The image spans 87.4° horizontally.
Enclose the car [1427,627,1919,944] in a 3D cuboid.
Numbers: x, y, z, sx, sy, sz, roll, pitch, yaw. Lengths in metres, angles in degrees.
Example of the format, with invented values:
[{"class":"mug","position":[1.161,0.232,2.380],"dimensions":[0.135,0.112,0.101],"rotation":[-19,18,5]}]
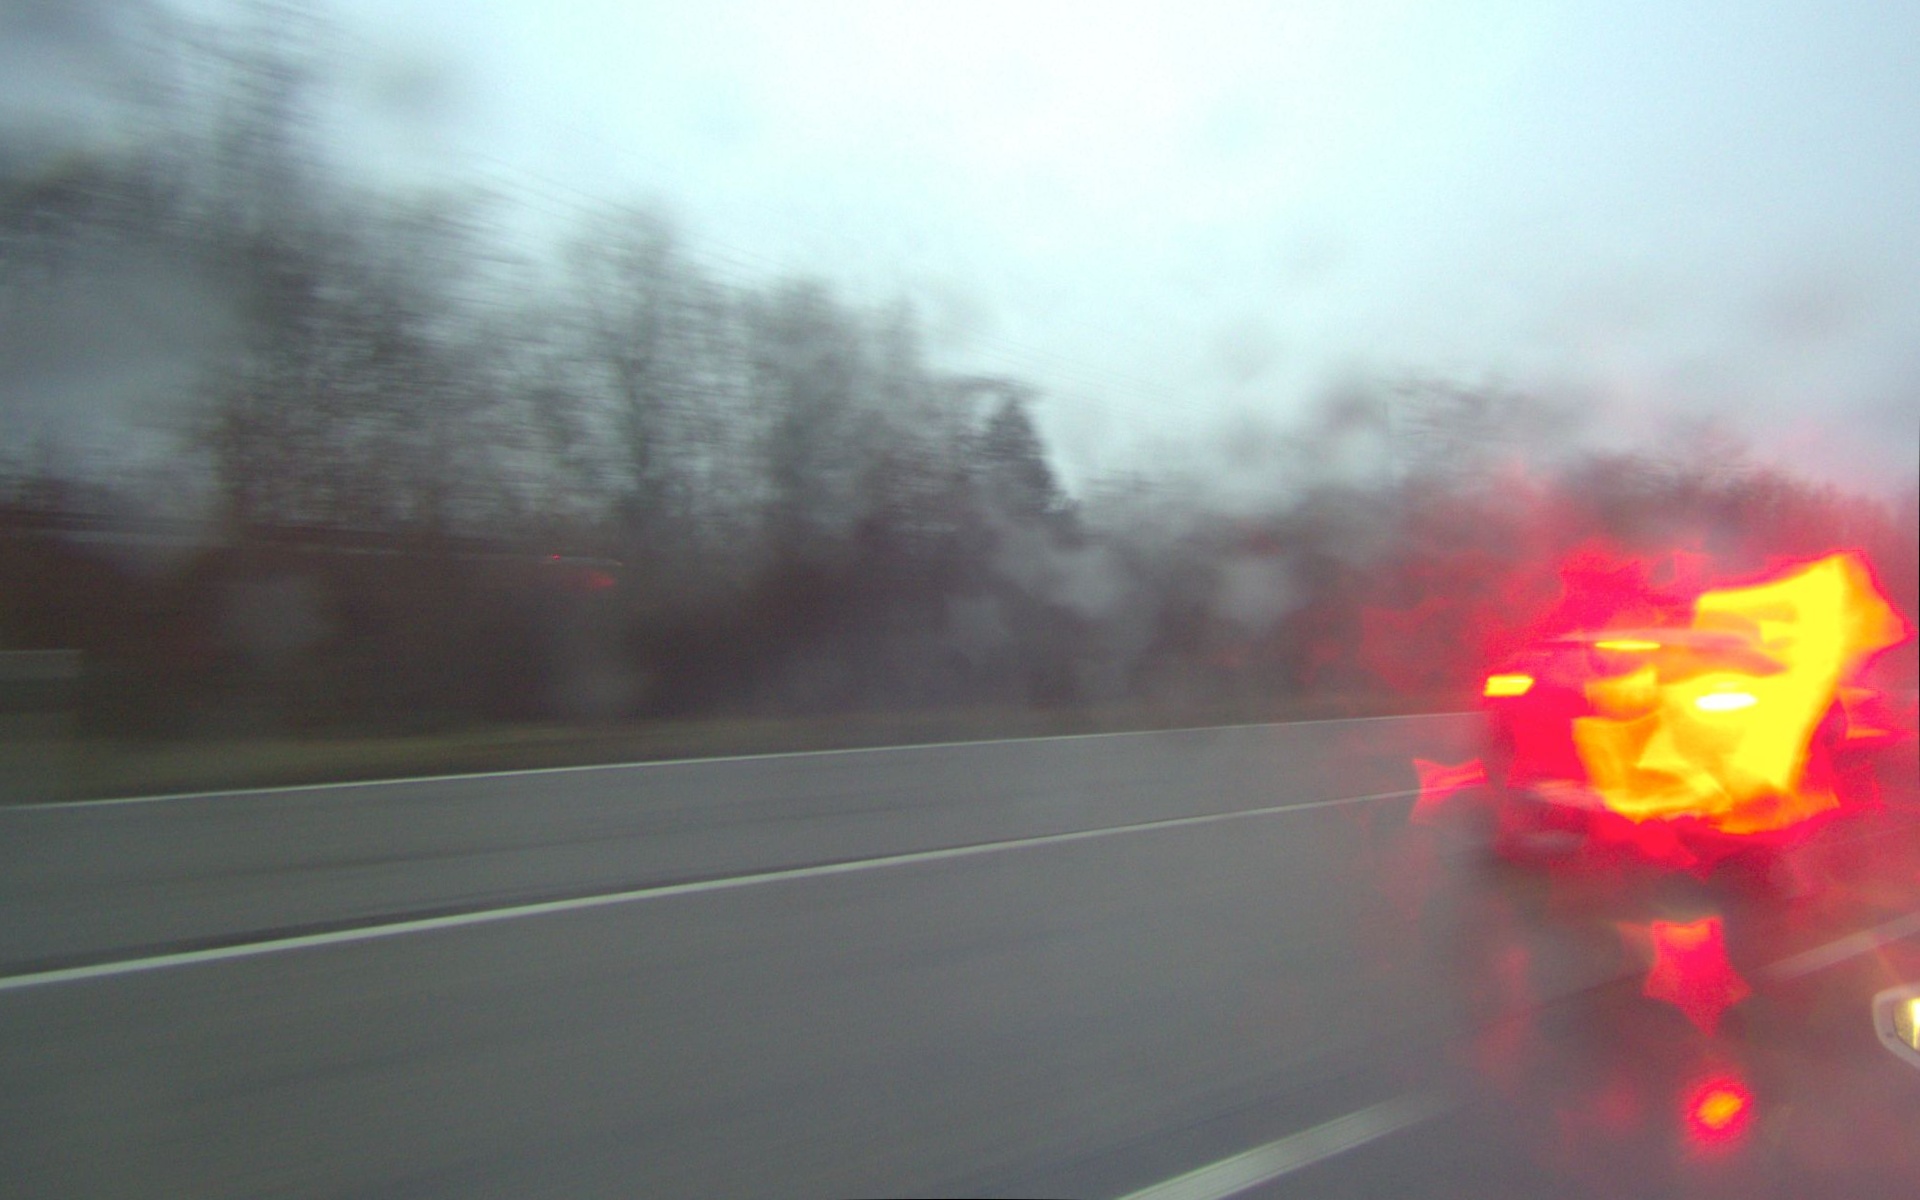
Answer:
[{"class":"car","position":[5.053,0.941,6.539],"dimensions":[4.124,1.440,1.623],"rotation":[1,0,-31]}]
